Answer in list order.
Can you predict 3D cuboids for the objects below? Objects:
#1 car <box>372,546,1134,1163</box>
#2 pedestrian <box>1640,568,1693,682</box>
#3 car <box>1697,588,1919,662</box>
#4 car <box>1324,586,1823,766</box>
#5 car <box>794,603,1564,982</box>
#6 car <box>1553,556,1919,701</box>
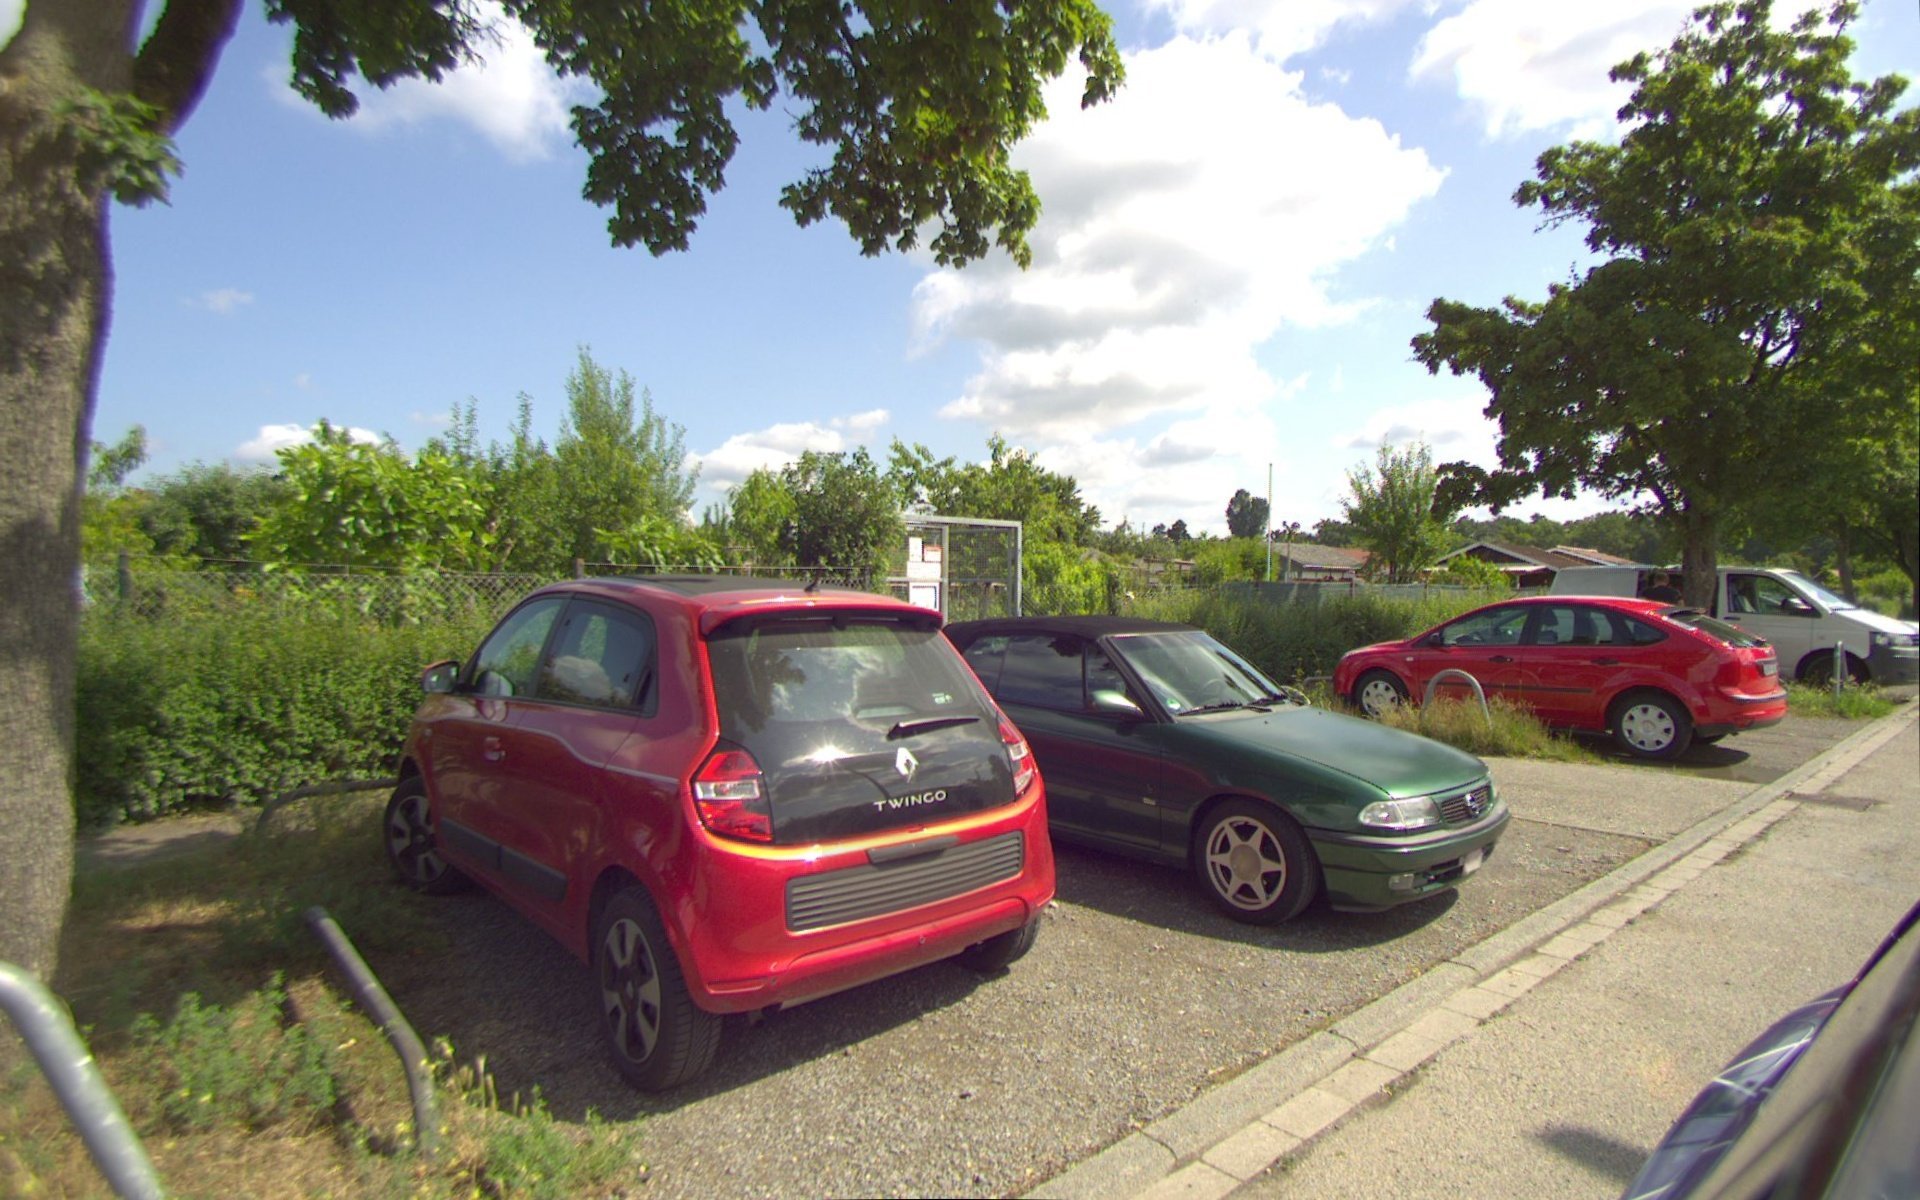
[{"bbox_3d":[-1.264,0.662,4.663,1.837,1.593,3.770,-1,0,-41],"label":"car"},{"bbox_3d":[10.763,0.366,15.420,0.465,1.694,0.524,-2,3,-40],"label":"pedestrian"},{"bbox_3d":[19.091,0.484,22.123,1.967,1.484,4.582,0,1,-43],"label":"car"},{"bbox_3d":[6.311,0.653,10.836,1.844,1.523,4.192,-1,0,-39],"label":"car"},{"bbox_3d":[0.995,0.770,6.134,1.877,1.446,4.241,-1,0,-44],"label":"car"},{"bbox_3d":[12.097,0.303,15.633,2.075,1.910,4.641,0,2,-42],"label":"car"}]
